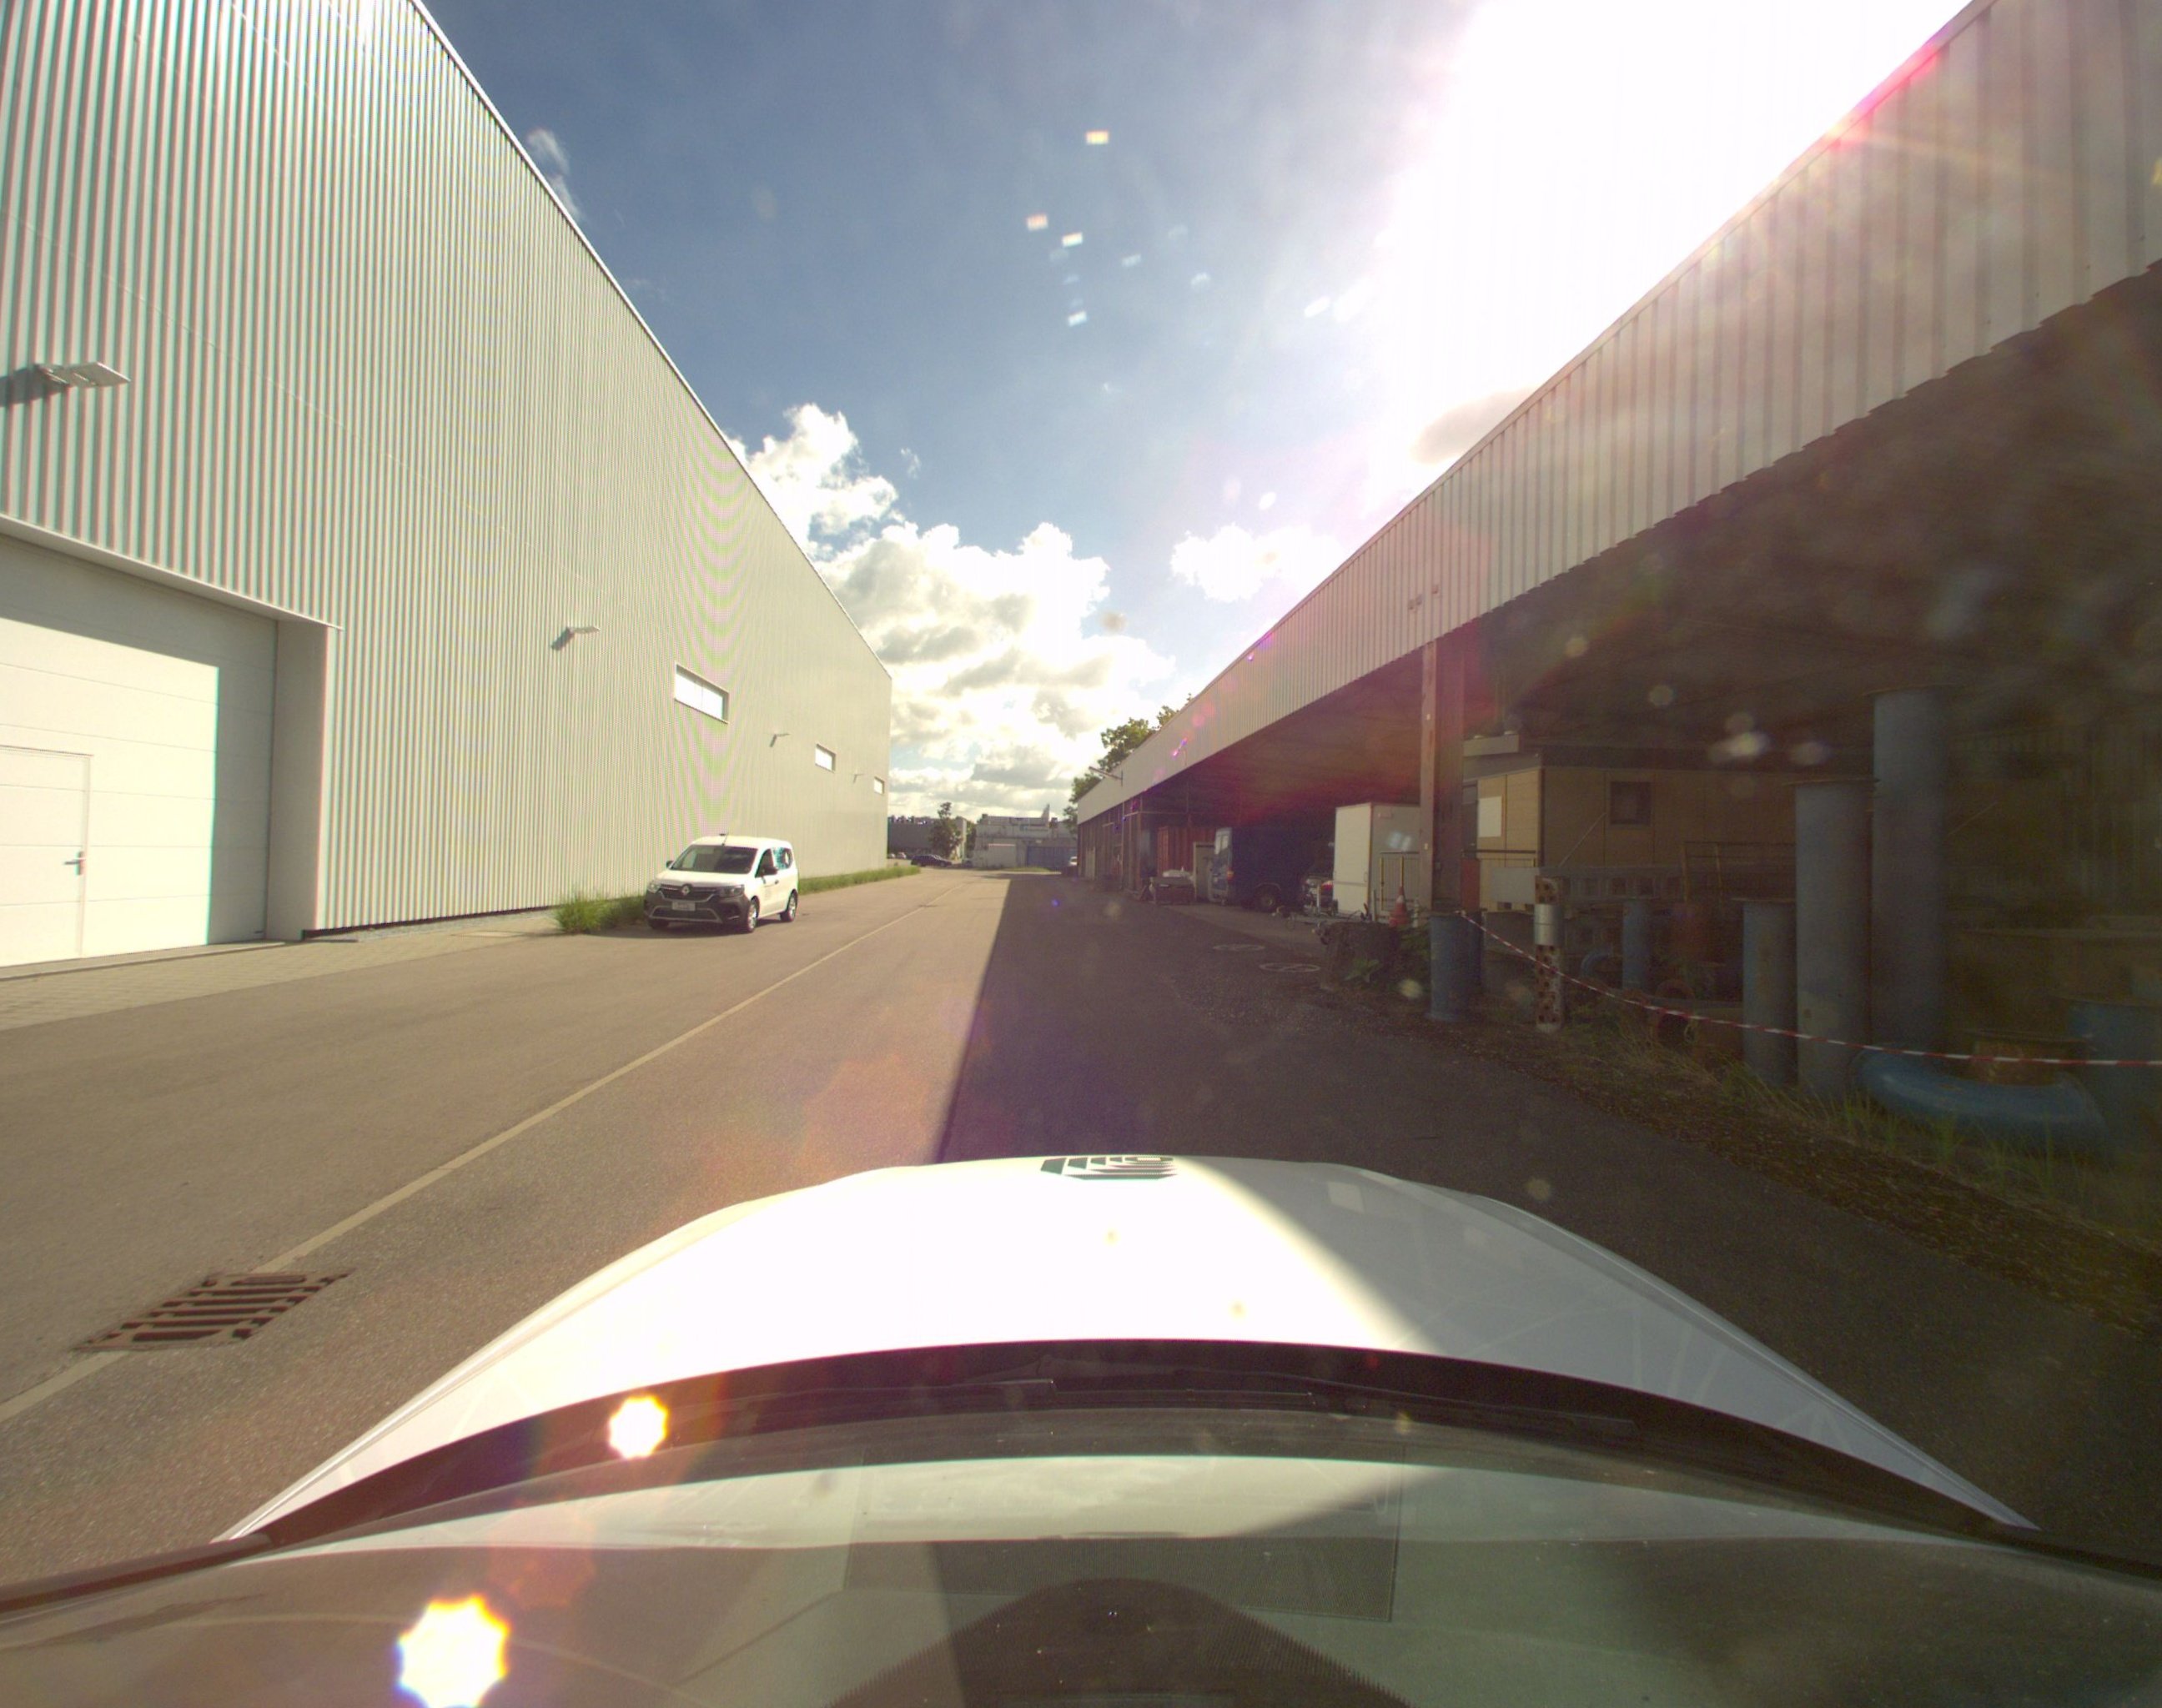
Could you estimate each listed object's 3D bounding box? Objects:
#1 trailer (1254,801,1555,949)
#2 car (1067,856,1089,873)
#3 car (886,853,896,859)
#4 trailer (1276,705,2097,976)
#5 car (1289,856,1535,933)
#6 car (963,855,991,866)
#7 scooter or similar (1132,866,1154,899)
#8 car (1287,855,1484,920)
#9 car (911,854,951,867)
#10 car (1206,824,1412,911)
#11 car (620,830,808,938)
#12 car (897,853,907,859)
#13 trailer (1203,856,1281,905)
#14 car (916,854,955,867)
[{"bbox_3d":[5.417,0.318,13.948,4.533,2.335,1.686,0,0,-5],"label":"trailer"},{"bbox_3d":[-0.389,1.086,86.860,1.978,1.593,4.333,2,1,-5],"label":"car"},{"bbox_3d":[-44.718,0.473,192.217,1.876,1.537,4.025,0,-1,-7],"label":"car"},{"bbox_3d":[8.243,-0.200,11.699,10.274,3.295,2.671,0,0,-5],"label":"trailer"},{"bbox_3d":[6.696,0.768,16.675,4.342,1.433,1.859,0,-1,-9],"label":"car"},{"bbox_3d":[-16.041,0.960,125.781,4.272,1.569,1.983,1,-2,-5],"label":"car"},{"bbox_3d":[2.139,0.977,28.299,0.519,1.134,1.589,1,-1,-5],"label":"scooter or similar"},{"bbox_3d":[7.324,0.778,19.803,4.101,1.454,1.847,0,-1,-6],"label":"car"},{"bbox_3d":[-18.019,0.813,97.756,4.522,1.443,1.983,1,-2,-5],"label":"car"},{"bbox_3d":[6.314,0.395,22.916,5.209,2.297,2.080,1,-1,-6],"label":"car"},{"bbox_3d":[-7.115,0.524,16.400,1.925,1.790,4.590,3,0,-5],"label":"car"},{"bbox_3d":[-42.423,0.460,192.666,1.876,1.537,4.025,0,-1,-7],"label":"car"},{"bbox_3d":[4.985,0.818,25.393,2.089,1.462,1.640,0,-1,-2],"label":"trailer"},{"bbox_3d":[-18.053,0.828,101.021,4.522,1.443,1.900,1,-2,-5],"label":"car"}]
